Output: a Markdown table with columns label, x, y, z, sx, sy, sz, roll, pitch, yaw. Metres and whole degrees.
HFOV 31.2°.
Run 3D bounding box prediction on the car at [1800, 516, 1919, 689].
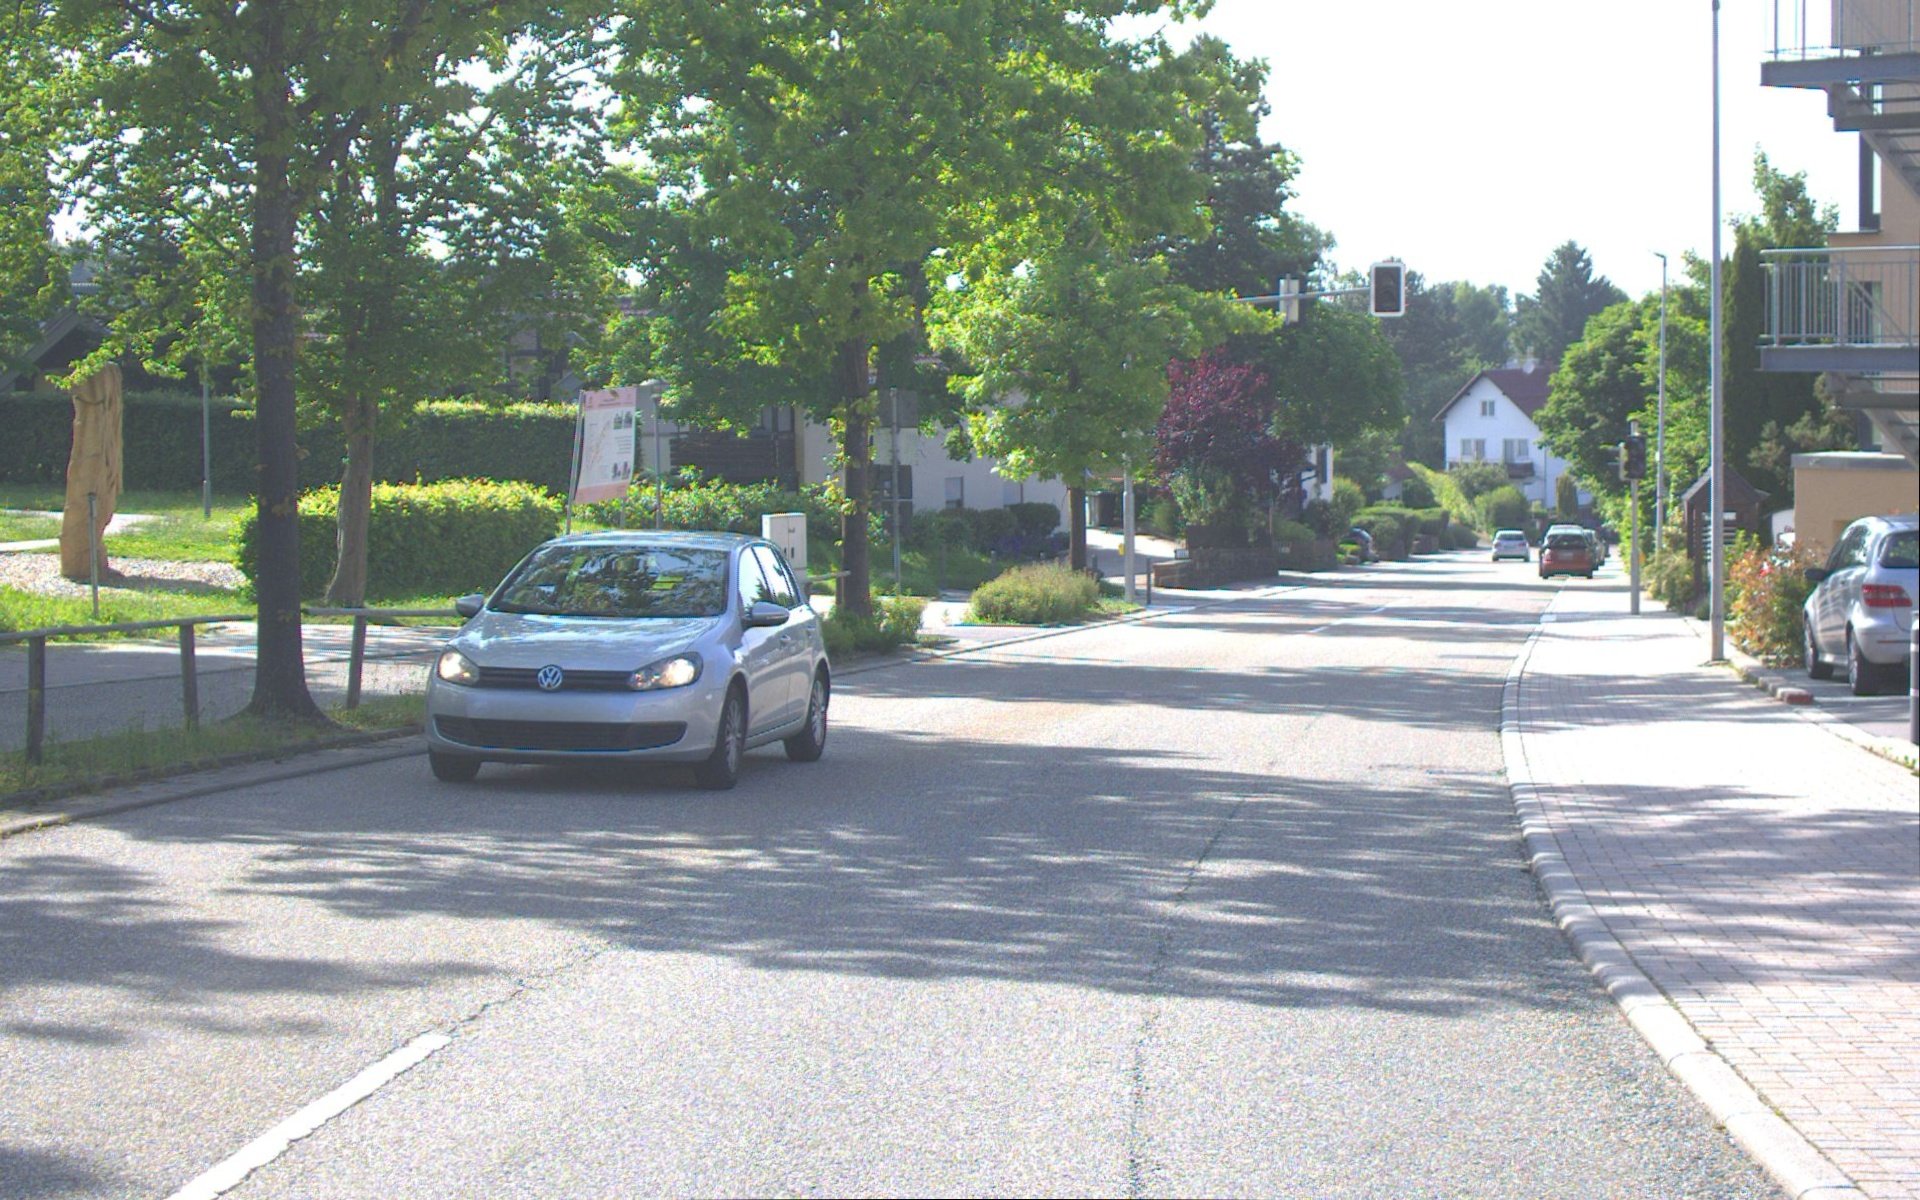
| label | x | y | z | sx | sy | sz | roll | pitch | yaw |
| --- | --- | --- | --- | --- | --- | --- | --- | --- | --- |
| car | 8.980 | -0.023 | 32.263 | 1.708 | 1.530 | 4.006 | 0 | 1 | 8 |

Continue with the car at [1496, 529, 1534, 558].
| label | x | y | z | sx | sy | sz | roll | pitch | yaw |
| --- | --- | --- | --- | --- | --- | --- | --- | --- | --- |
| car | 27.945 | -2.850 | 173.145 | 1.709 | 1.422 | 4.005 | 0 | 1 | 12 |

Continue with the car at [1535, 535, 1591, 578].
| label | x | y | z | sx | sy | sz | roll | pitch | yaw |
| --- | --- | --- | --- | --- | --- | --- | --- | --- | --- |
| car | 20.370 | -1.493 | 116.311 | 1.708 | 1.422 | 4.006 | 0 | 1 | 8 |

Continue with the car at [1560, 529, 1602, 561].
| label | x | y | z | sx | sy | sz | roll | pitch | yaw |
| --- | --- | --- | --- | --- | --- | --- | --- | --- | --- |
| car | 28.540 | -2.550 | 158.075 | 1.708 | 1.422 | 4.006 | 0 | 1 | 8 |

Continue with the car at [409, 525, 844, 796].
| label | x | y | z | sx | sy | sz | roll | pitch | yaw |
| --- | --- | --- | --- | --- | --- | --- | --- | --- | --- |
| car | -1.899 | 0.284 | 20.803 | 1.729 | 1.438 | 4.064 | 1 | 1 | 7 |
